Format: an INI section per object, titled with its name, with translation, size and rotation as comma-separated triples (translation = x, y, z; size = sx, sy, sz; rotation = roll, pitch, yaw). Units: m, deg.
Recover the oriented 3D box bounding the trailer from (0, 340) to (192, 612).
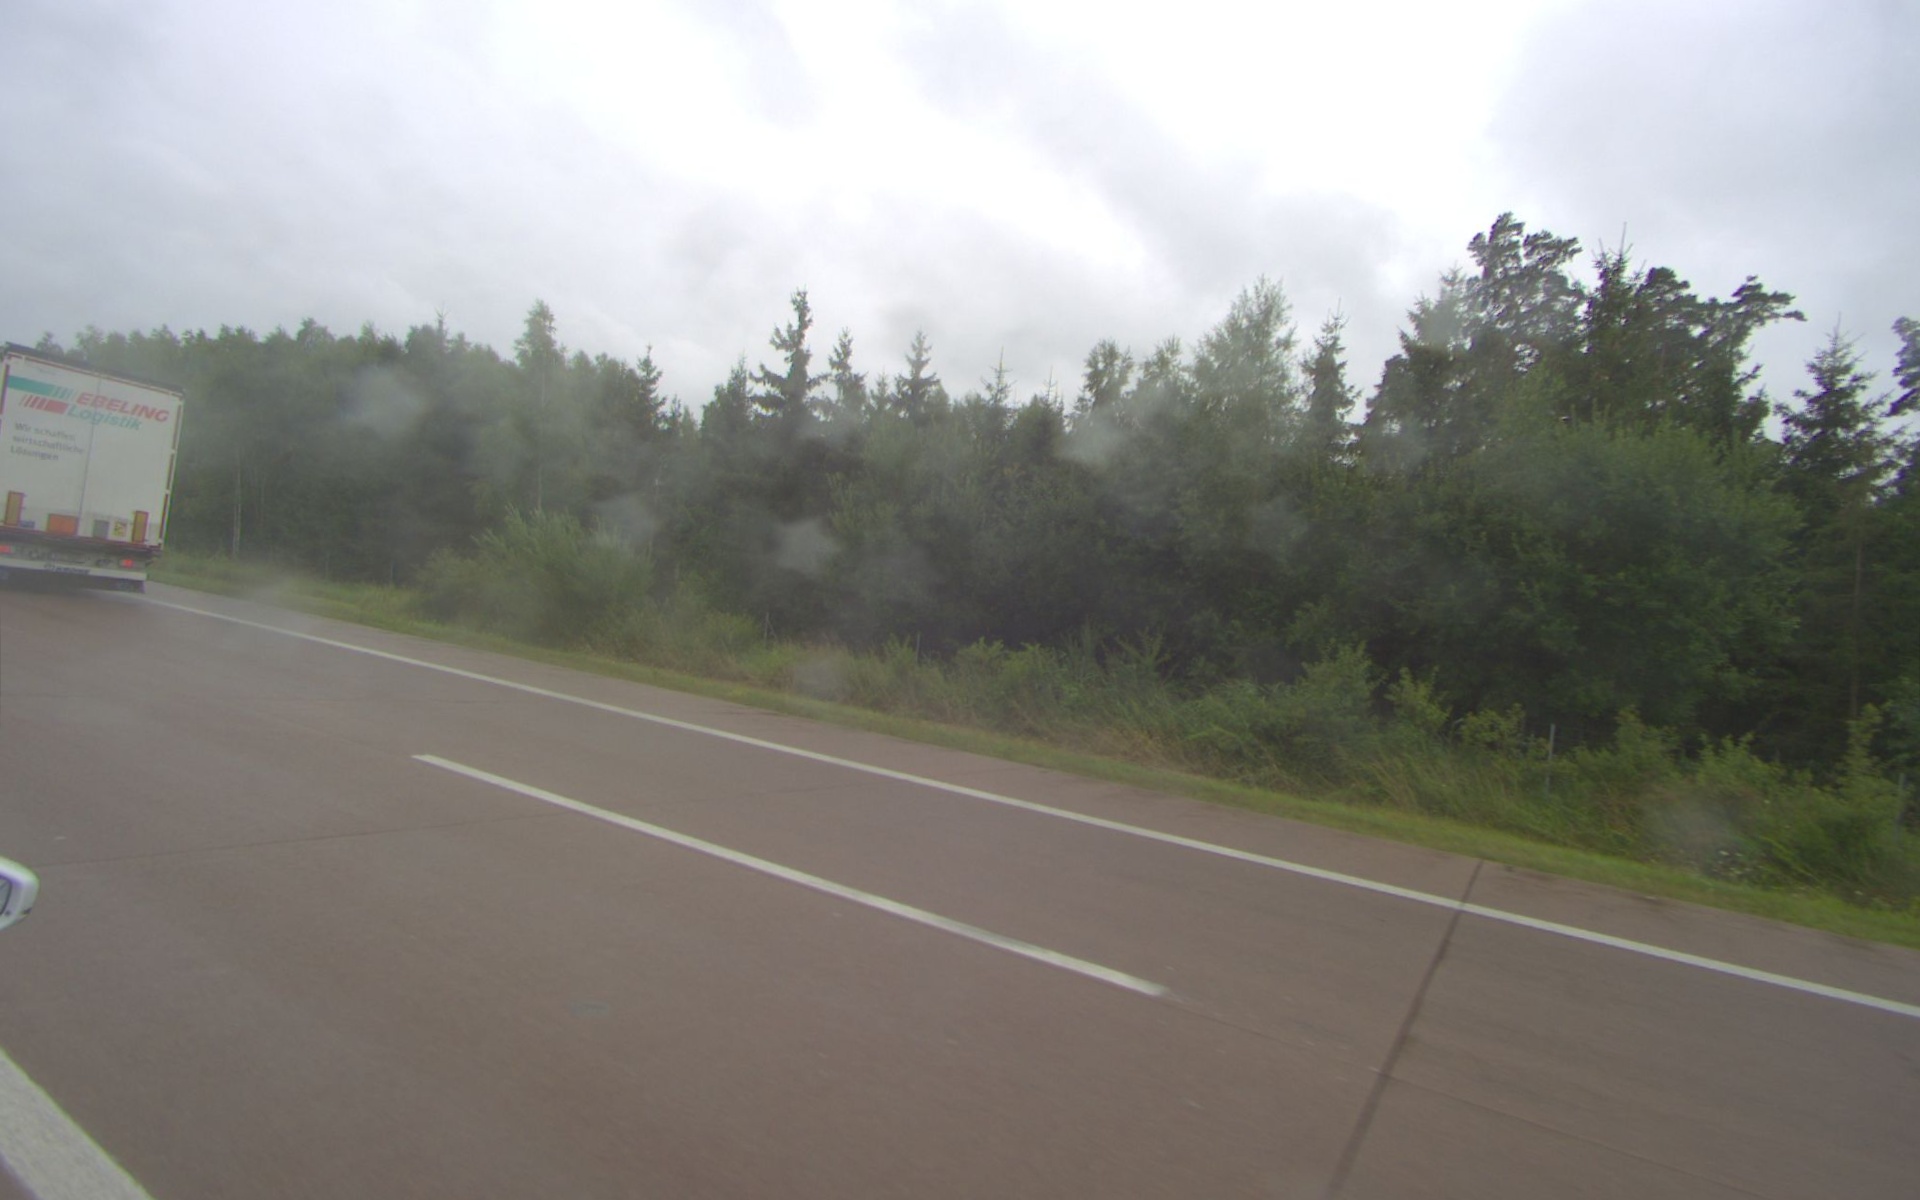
[trailer]
translation = -20.590, -2.688, 20.668
size = 12.911, 4.285, 2.855
rotation = 7, 1, 31
